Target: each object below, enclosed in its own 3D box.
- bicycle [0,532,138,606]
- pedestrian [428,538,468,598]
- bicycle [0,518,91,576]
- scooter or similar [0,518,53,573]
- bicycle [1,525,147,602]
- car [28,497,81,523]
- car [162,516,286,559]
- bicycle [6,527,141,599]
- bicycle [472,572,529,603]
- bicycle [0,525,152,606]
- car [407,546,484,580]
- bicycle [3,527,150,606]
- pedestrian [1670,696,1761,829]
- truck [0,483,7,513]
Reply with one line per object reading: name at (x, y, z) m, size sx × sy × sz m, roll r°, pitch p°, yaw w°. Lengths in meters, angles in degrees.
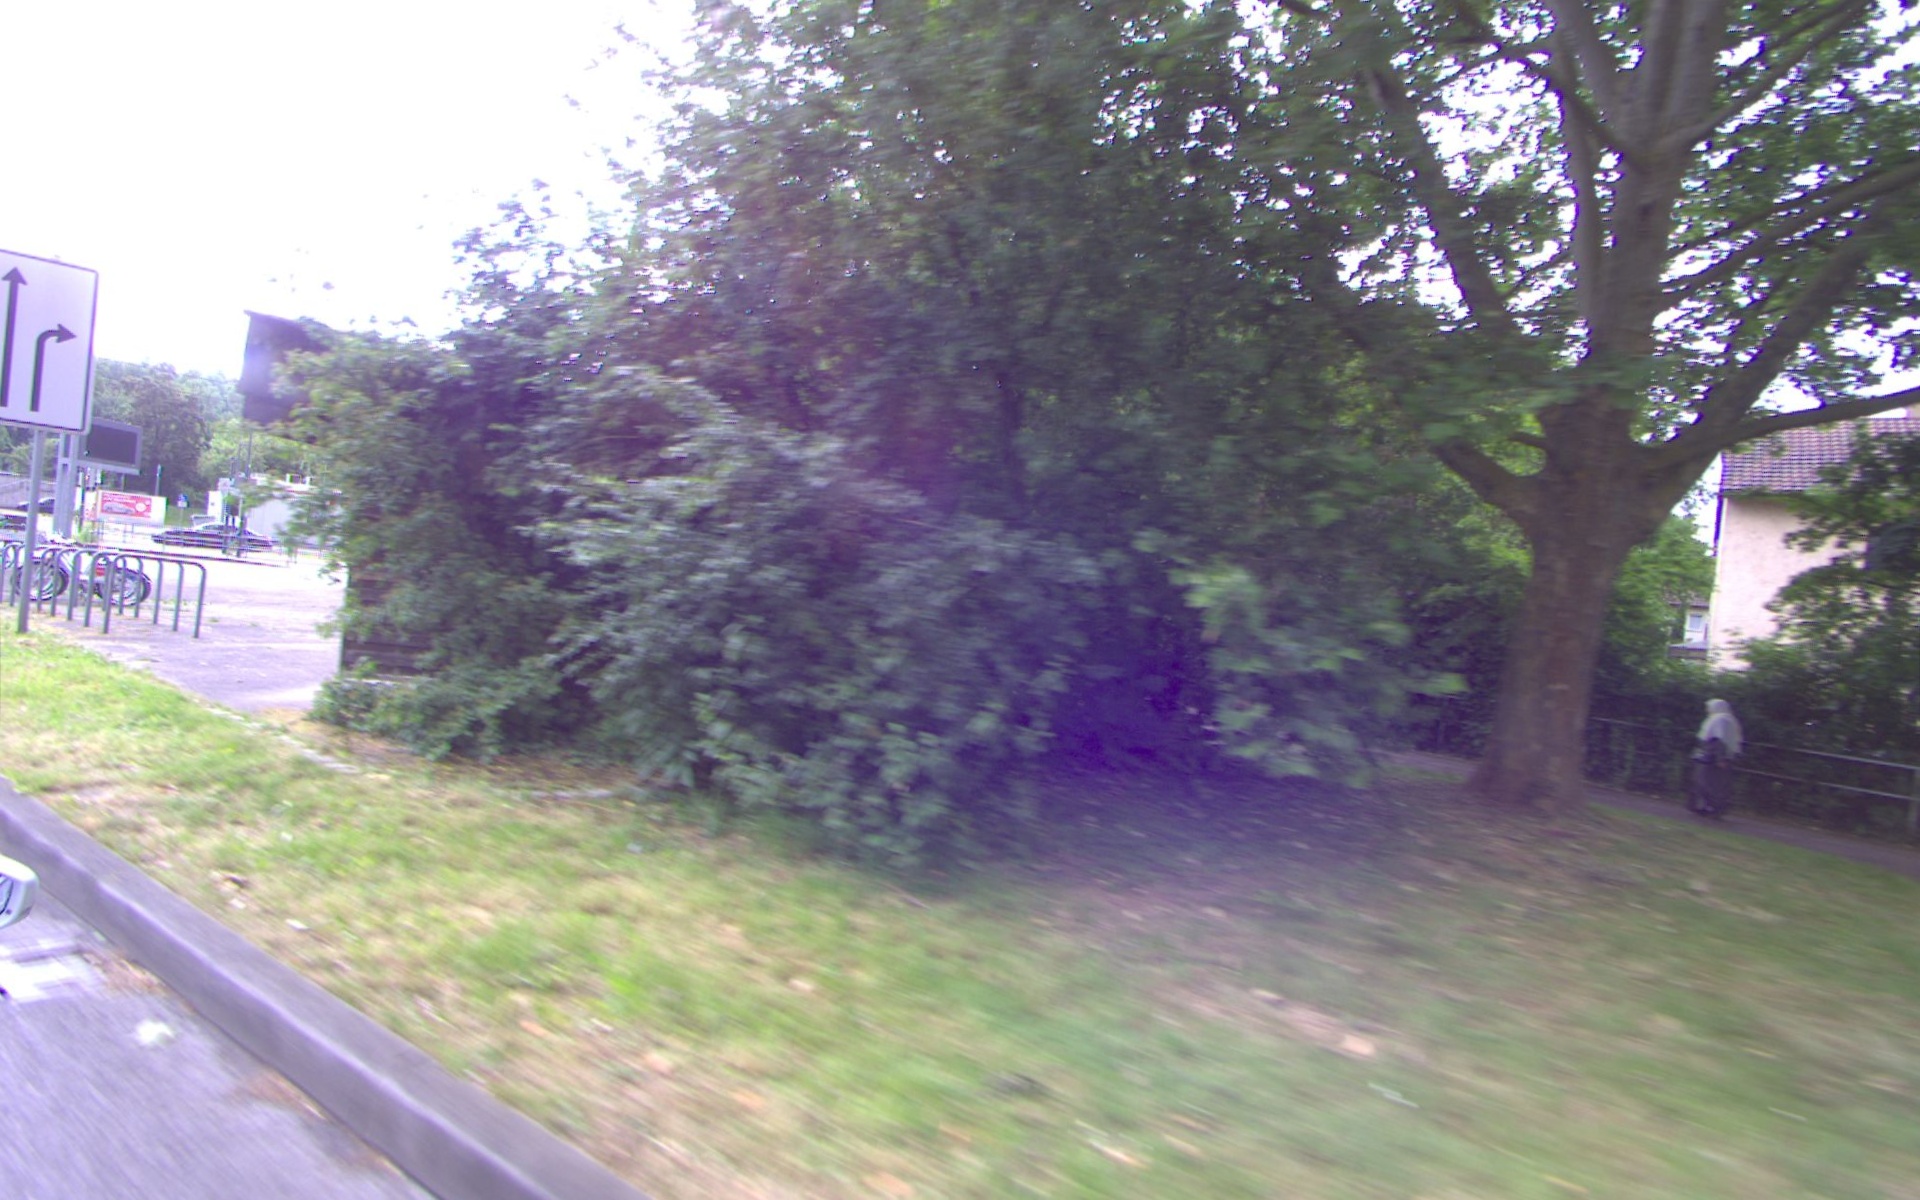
bicycle at (-15.856, -0.526, 17.904) m, size 0.533 × 1.124 × 1.777 m, roll 4°, pitch -2°, yaw 39°
pedestrian at (-16.867, -1.043, 33.131) m, size 0.762 × 1.842 × 0.689 m, roll 6°, pitch 1°, yaw 16°
bicycle at (-21.134, -1.207, 23.081) m, size 0.472 × 1.125 × 1.687 m, roll 9°, pitch 1°, yaw 39°
scooter or similar at (-22.426, -1.308, 23.938) m, size 1.177 × 1.184 × 0.290 m, roll 6°, pitch 1°, yaw -44°
bicycle at (-15.365, -0.608, 17.483) m, size 0.571 × 1.124 × 1.777 m, roll 6°, pitch -1°, yaw 39°
car at (-79.168, -7.871, 87.975) m, size 1.383 × 1.842 × 3.146 m, roll 6°, pitch 0°, yaw 39°
car at (-38.005, -3.229, 52.067) m, size 5.025 × 1.543 × 1.725 m, roll 6°, pitch 1°, yaw -39°
bicycle at (-16.648, -0.674, 18.938) m, size 0.545 × 1.124 × 1.777 m, roll 6°, pitch -1°, yaw 39°
bicycle at (-15.673, -0.410, 34.348) m, size 0.354 × 0.909 × 1.714 m, roll 7°, pitch 0°, yaw 39°
bicycle at (-14.405, -0.545, 16.447) m, size 1.765 × 1.125 × 0.422 m, roll 6°, pitch 0°, yaw -33°
car at (-30.540, -2.207, 59.746) m, size 3.751 × 1.527 × 1.686 m, roll 6°, pitch 0°, yaw -39°
bicycle at (-14.870, -0.547, 16.974) m, size 0.449 × 1.124 × 1.774 m, roll 6°, pitch -1°, yaw 44°
pedestrian at (9.844, 2.091, 13.133) m, size 0.730 × 1.571 × 0.684 m, roll 7°, pitch 1°, yaw 31°
truck at (-70.451, -7.450, 72.499) m, size 5.170 × 2.039 × 2.229 m, roll 5°, pitch 1°, yaw 43°
